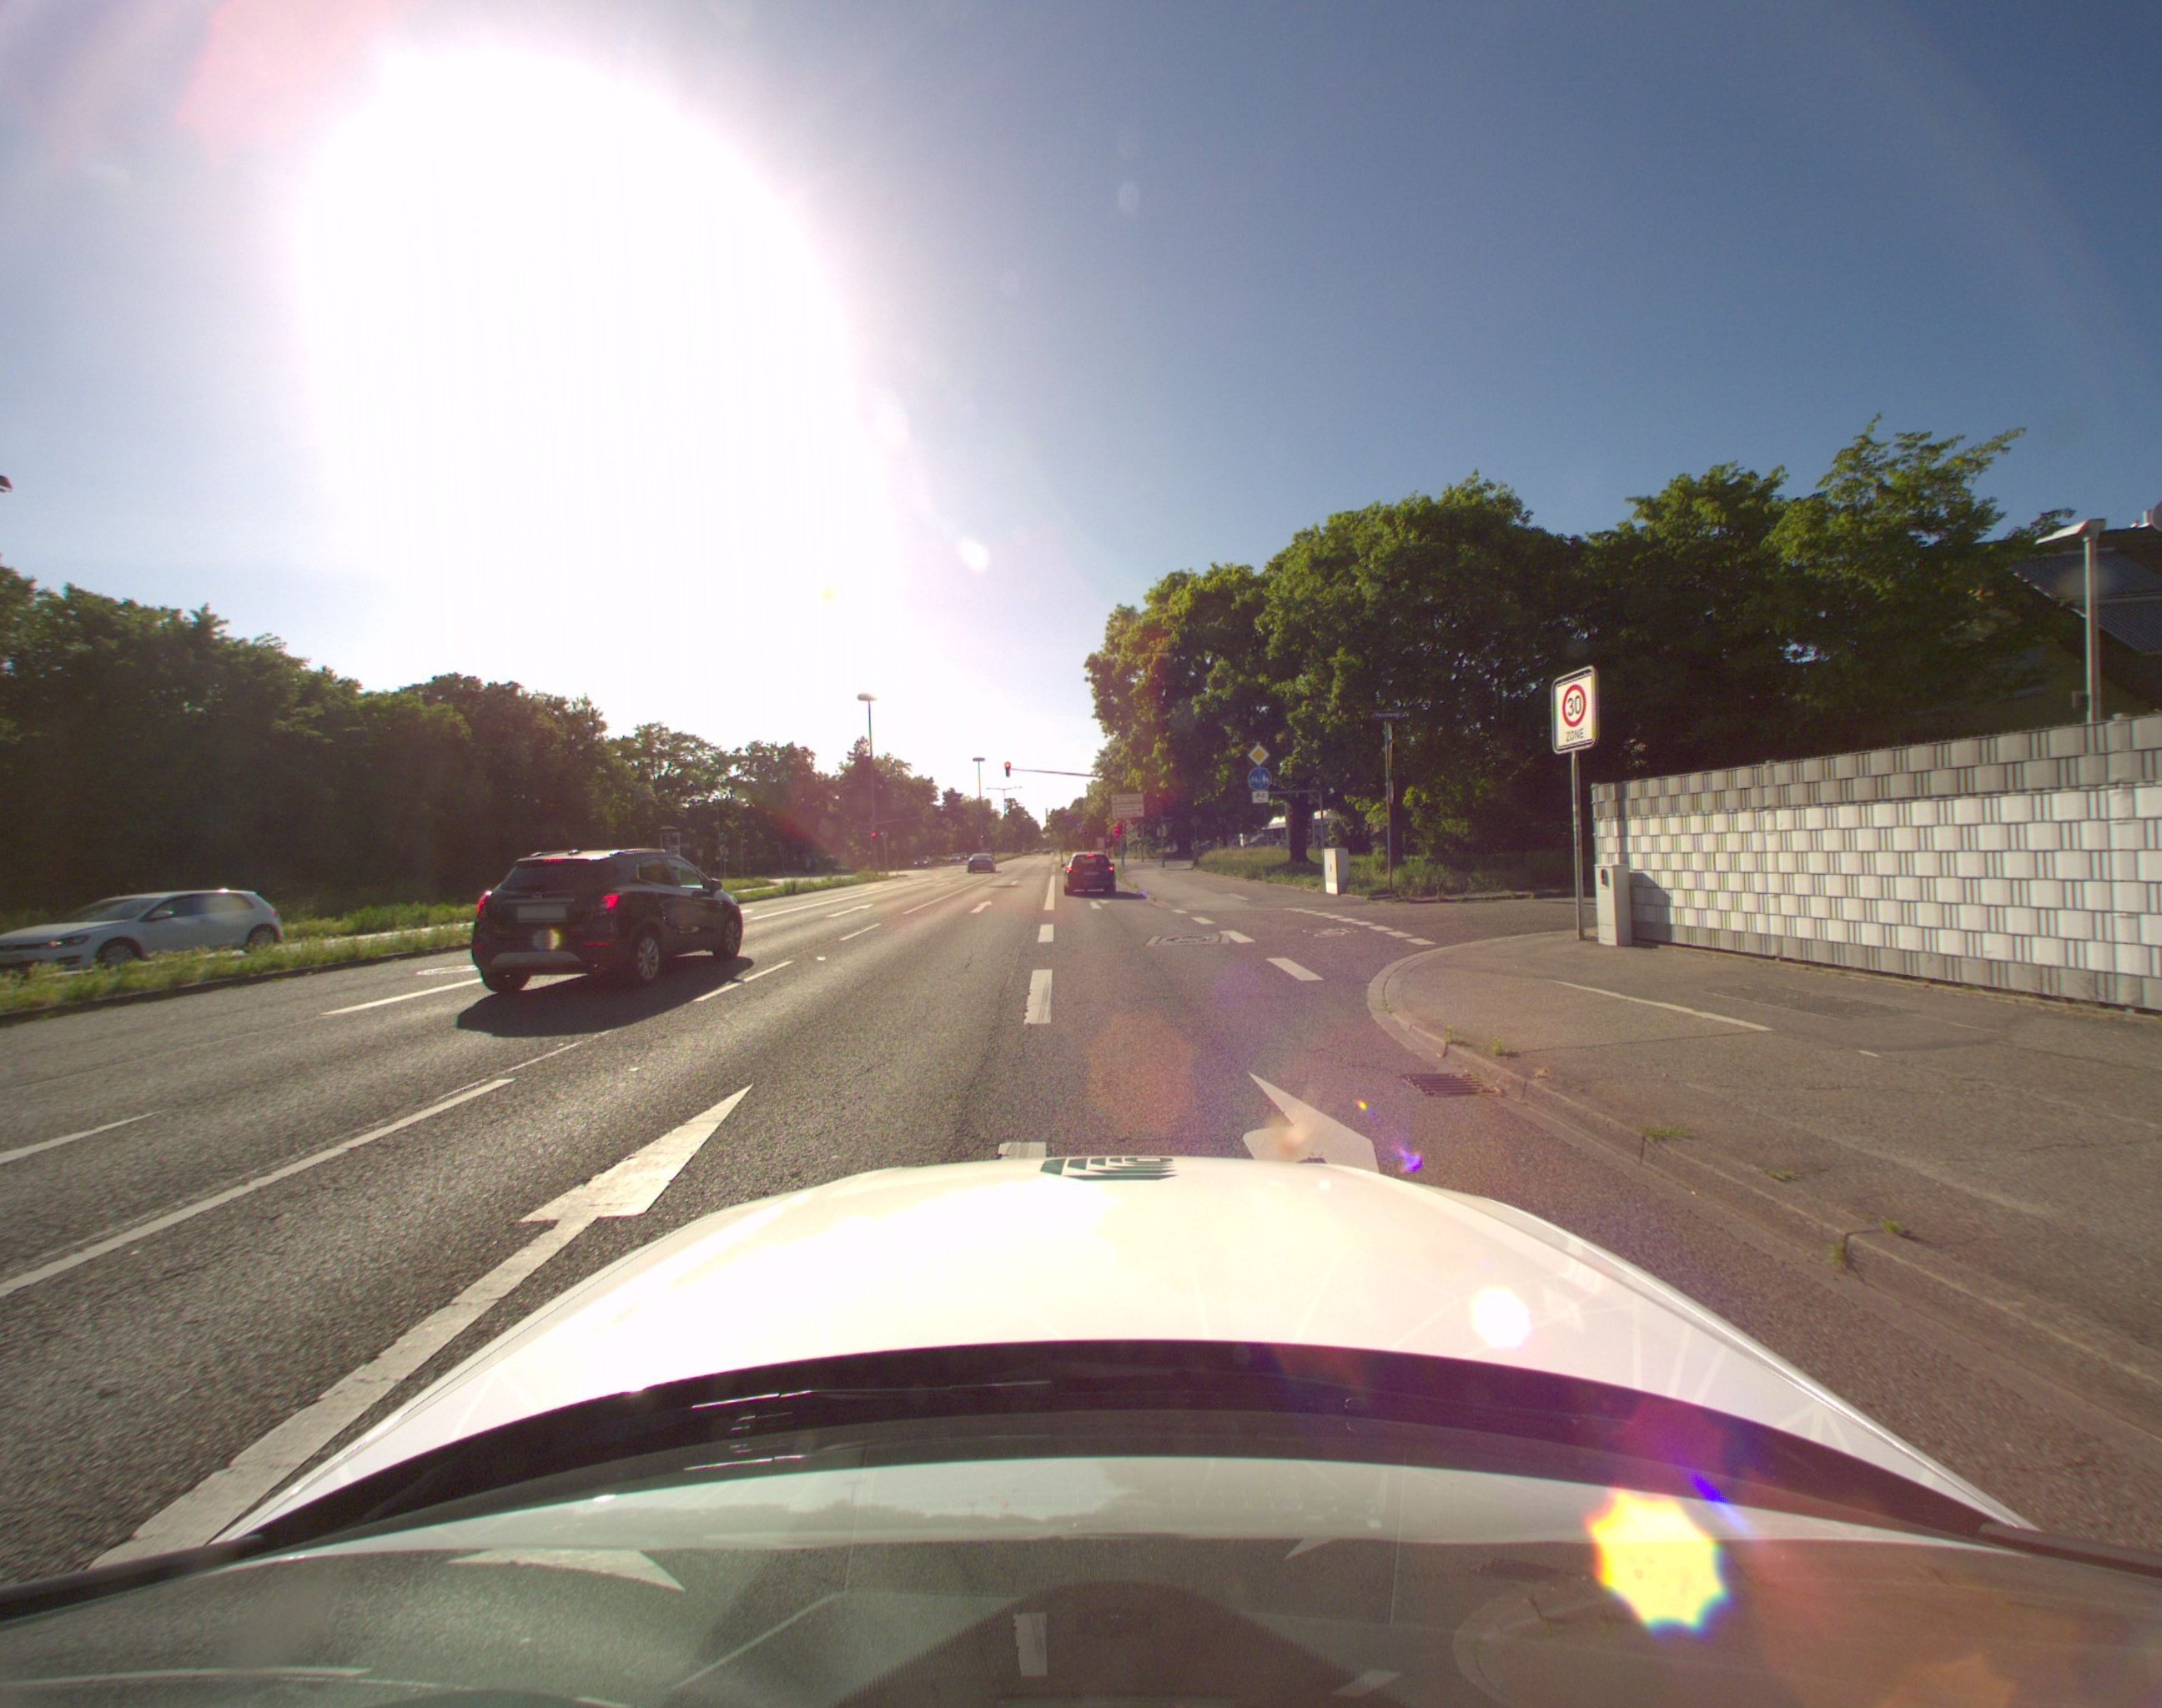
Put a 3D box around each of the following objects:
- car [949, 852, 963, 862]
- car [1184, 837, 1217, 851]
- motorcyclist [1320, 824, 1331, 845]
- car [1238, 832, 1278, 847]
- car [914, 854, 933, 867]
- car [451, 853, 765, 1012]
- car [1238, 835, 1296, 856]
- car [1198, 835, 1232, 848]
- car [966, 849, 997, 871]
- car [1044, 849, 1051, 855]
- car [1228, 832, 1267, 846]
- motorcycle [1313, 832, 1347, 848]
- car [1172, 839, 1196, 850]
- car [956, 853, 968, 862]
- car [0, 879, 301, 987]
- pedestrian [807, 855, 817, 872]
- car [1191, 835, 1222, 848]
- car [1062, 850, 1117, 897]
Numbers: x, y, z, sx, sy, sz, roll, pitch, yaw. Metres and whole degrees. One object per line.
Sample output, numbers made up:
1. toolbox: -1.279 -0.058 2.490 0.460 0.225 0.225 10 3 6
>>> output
1. car: -22.142 0.488 144.628 1.859 1.684 3.997 0 0 -2
2. car: 14.540 -1.220 99.061 3.733 1.685 1.689 0 0 -28
3. motorcyclist: 20.296 -1.628 67.714 0.854 1.680 0.837 0 0 14
4. car: 19.140 -1.587 87.953 3.850 1.611 1.792 0 0 -21
5. car: -21.173 0.873 109.660 1.859 1.684 4.257 0 0 -2
6. car: -5.951 0.838 10.989 1.691 1.632 4.415 -2 0 -2
7. car: 15.571 -0.690 68.472 4.591 1.574 2.005 -2 -1 9
8. car: 15.904 -1.474 96.751 3.863 1.563 1.786 0 0 -34
9. car: -7.424 0.441 61.285 1.884 1.552 3.997 -2 0 -2
10. car: -9.135 -0.475 221.000 1.728 1.585 3.837 0 0 -2
11. car: 18.419 -1.638 89.918 3.850 1.482 1.792 0 0 -21
12. motorcycle: 20.663 -1.127 67.648 2.705 1.270 0.837 0 0 14
13. car: 16.665 -1.520 131.999 3.705 1.685 1.701 0 0 -5
14. car: -23.818 0.691 163.015 1.859 1.684 3.997 0 0 -2
15. car: -18.160 1.389 15.761 1.907 1.703 4.405 -1 -1 -1
16. pedestrian: -29.917 1.065 90.463 0.842 1.835 0.550 -3 0 2
17. car: 16.153 -1.623 104.918 3.705 1.685 1.701 0 0 -5
18. car: 0.242 0.633 28.804 1.751 1.509 3.806 -2 0 -2
